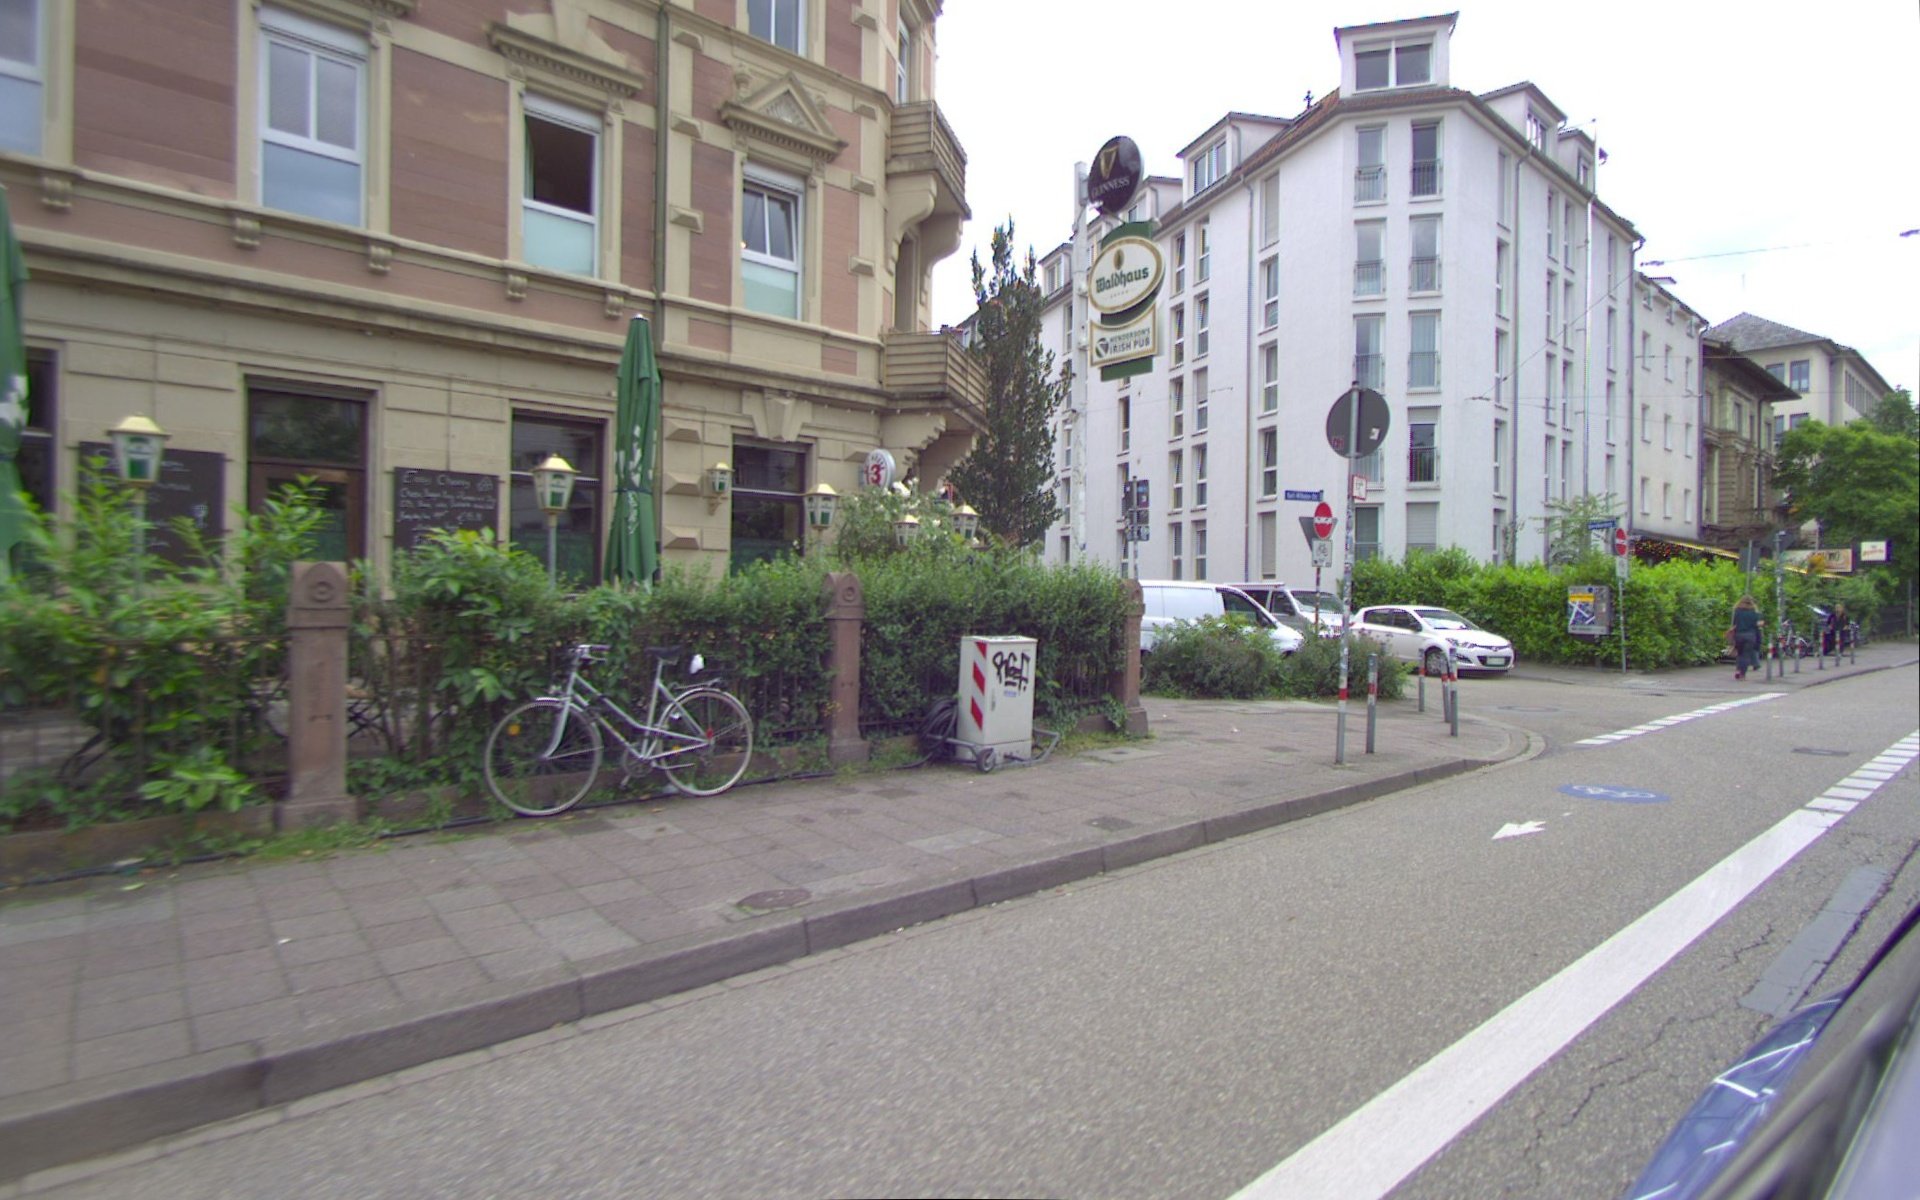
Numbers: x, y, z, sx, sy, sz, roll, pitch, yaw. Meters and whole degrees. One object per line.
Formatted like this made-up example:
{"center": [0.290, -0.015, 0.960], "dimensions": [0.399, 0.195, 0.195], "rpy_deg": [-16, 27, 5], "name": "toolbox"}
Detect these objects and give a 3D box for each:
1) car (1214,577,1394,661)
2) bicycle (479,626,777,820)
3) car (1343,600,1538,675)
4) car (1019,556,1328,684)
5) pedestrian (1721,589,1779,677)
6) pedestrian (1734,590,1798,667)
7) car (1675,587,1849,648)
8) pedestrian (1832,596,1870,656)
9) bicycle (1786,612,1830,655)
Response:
{"center": [8.812, 0.436, 26.422], "dimensions": [1.934, 1.963, 4.755], "rpy_deg": [2, 0, -18], "name": "car"}
{"center": [-2.033, 0.711, 6.420], "dimensions": [1.816, 1.055, 0.302], "rpy_deg": [0, 0, -41], "name": "bicycle"}
{"center": [10.322, 0.750, 22.058], "dimensions": [1.636, 1.449, 3.829], "rpy_deg": [1, 0, -18], "name": "car"}
{"center": [3.729, 0.385, 17.636], "dimensions": [4.923, 1.901, 2.062], "rpy_deg": [3, -1, -24], "name": "car"}
{"center": [15.584, 0.621, 19.968], "dimensions": [0.872, 1.677, 0.895], "rpy_deg": [0, 0, 41], "name": "pedestrian"}
{"center": [17.890, 0.610, 22.474], "dimensions": [0.819, 1.656, 0.797], "rpy_deg": [0, 2, -25], "name": "pedestrian"}
{"center": [26.838, 0.532, 33.985], "dimensions": [1.790, 1.832, 4.291], "rpy_deg": [1, 1, -38], "name": "car"}
{"center": [26.070, 0.736, 29.608], "dimensions": [0.943, 1.691, 0.624], "rpy_deg": [1, 3, -42], "name": "pedestrian"}
{"center": [23.727, 0.928, 28.314], "dimensions": [1.781, 1.142, 0.634], "rpy_deg": [1, 2, -42], "name": "bicycle"}
